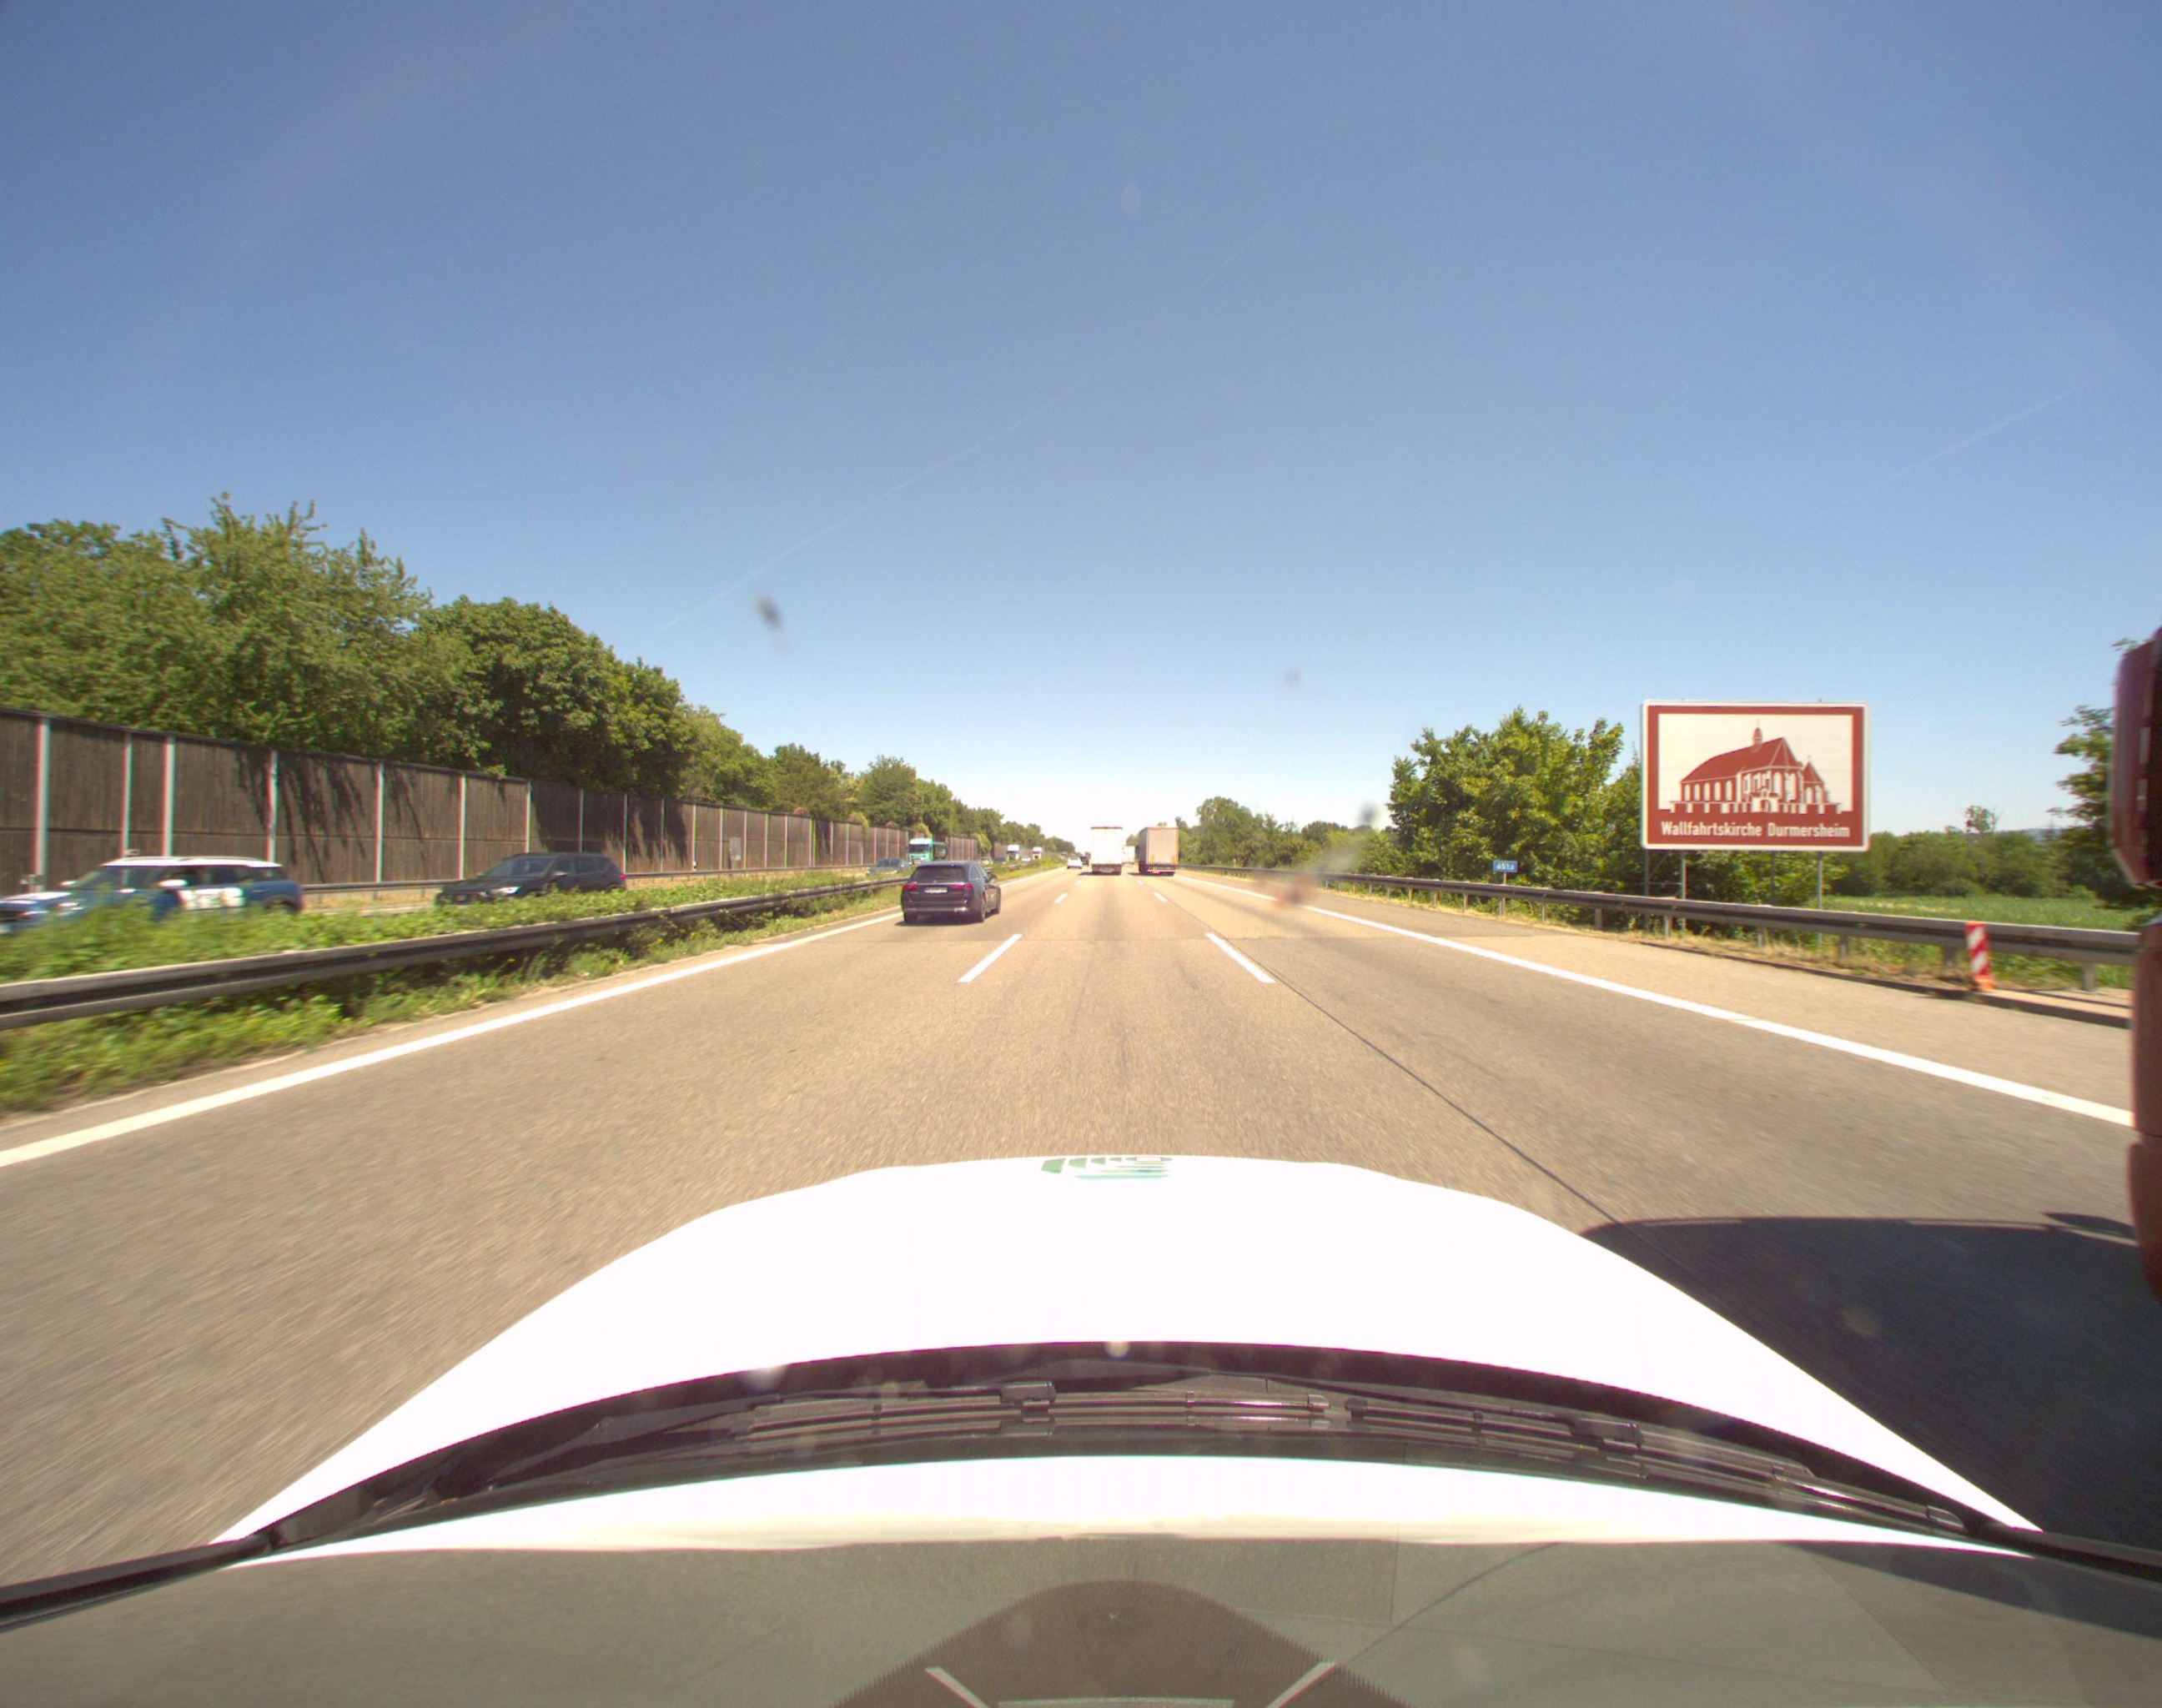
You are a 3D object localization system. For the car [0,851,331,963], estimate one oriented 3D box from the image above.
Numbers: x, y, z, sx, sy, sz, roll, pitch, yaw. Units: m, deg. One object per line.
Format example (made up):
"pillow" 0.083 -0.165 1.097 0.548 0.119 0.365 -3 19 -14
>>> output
"car" -16.783 0.815 14.809 1.986 1.720 4.534 0 0 2

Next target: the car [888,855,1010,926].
"car" -3.189 0.807 20.995 1.936 1.506 5.825 -1 0 3

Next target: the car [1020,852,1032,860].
"car" -11.646 0.421 173.313 1.986 1.590 4.494 0 0 2

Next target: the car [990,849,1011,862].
"car" -9.806 0.188 99.103 1.950 1.446 4.461 0 0 2

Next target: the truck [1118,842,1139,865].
"truck" 9.290 -0.151 160.450 3.363 4.303 11.449 3 0 0

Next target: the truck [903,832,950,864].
"truck" -18.480 -0.682 98.492 3.079 3.675 12.371 0 0 1

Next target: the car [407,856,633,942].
"car" -12.705 0.929 18.902 1.986 1.720 4.534 0 0 2

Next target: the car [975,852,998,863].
"car" -12.980 0.501 112.434 1.854 1.441 5.097 0 0 8

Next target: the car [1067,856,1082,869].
"car" -0.770 1.058 102.623 1.849 1.486 4.000 -1 0 1

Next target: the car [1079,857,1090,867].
"car" 0.607 1.306 136.490 1.849 1.617 3.999 -1 0 0

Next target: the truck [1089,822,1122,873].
"truck" 2.126 -0.551 72.870 2.697 4.085 13.476 0 0 1

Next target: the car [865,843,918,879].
"car" -11.155 0.366 48.182 1.986 1.947 4.002 3 0 2

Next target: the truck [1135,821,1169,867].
"truck" 6.710 -0.911 78.128 2.682 4.215 7.839 0 0 1

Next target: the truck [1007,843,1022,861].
"truck" -15.397 -0.483 187.860 2.748 4.022 6.735 0 0 1

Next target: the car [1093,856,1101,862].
"car" 4.169 1.347 211.228 1.849 1.617 3.999 -1 0 -1

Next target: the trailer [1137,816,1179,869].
"trailer" 6.584 -0.893 71.700 2.694 4.215 13.214 0 0 1
